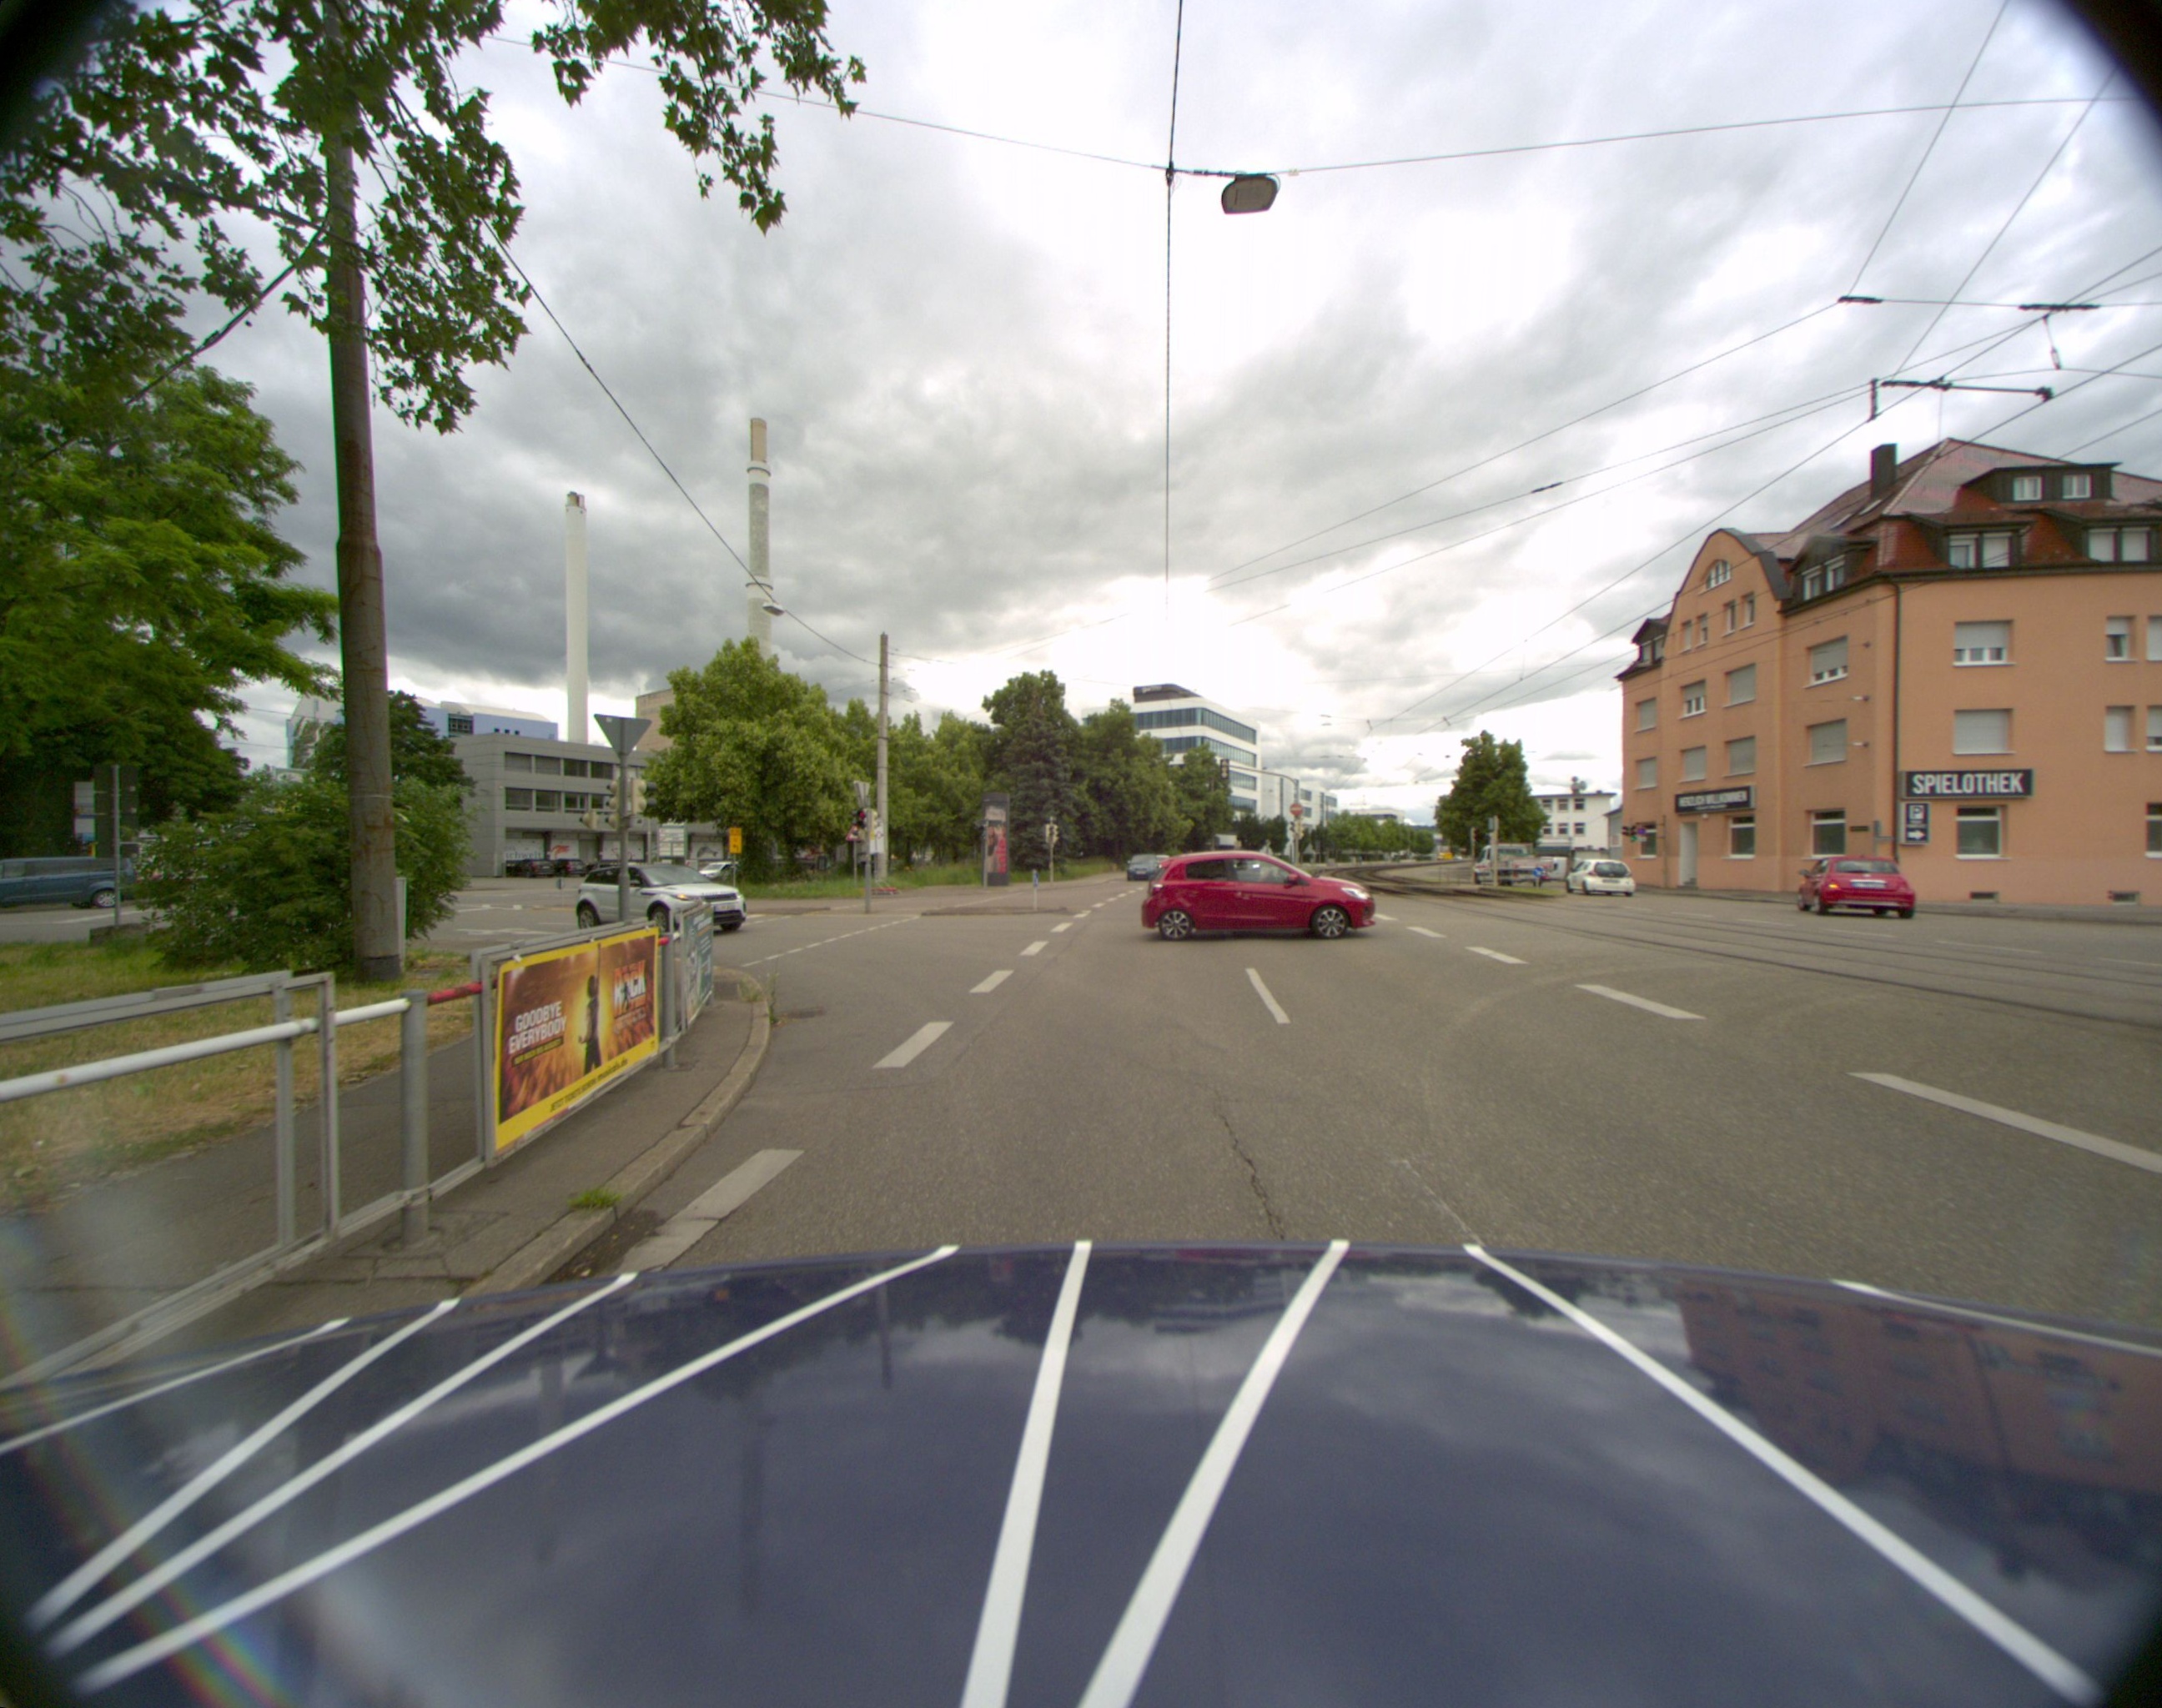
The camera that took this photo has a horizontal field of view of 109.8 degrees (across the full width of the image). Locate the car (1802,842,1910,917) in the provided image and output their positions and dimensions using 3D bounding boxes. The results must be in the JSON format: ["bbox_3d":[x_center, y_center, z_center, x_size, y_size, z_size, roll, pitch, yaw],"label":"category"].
[{"bbox_3d":[19.588,0.541,19.351,1.698,1.517,4.007,1,4,43],"label":"car"}]

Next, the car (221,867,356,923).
[{"bbox_3d":[-27.650,1.355,26.704,1.835,1.761,4.221,0,0,-24],"label":"car"}]

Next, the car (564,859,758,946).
[{"bbox_3d":[-9.614,1.013,17.364,4.102,1.561,1.920,2,4,29],"label":"car"}]

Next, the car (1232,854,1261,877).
[{"bbox_3d":[10.140,0.690,46.686,1.626,1.324,3.177,-1,0,10],"label":"car"}]

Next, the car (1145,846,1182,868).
[{"bbox_3d":[5.525,0.190,50.455,1.746,1.418,4.170,-1,0,15],"label":"car"}]

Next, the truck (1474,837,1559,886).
[{"bbox_3d":[23.494,0.359,41.270,2.317,2.407,5.659,1,1,12],"label":"truck"}]

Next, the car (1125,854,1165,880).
[{"bbox_3d":[3.728,0.731,43.752,1.746,1.383,3.707,-1,0,13],"label":"car"}]

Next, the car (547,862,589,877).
[{"bbox_3d":[-46.515,1.374,68.887,3.562,1.172,1.780,2,4,30],"label":"car"}]

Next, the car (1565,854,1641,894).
[{"bbox_3d":[20.931,0.861,30.605,1.595,1.411,3.381,-4,-5,19],"label":"car"}]

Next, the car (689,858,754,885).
[{"bbox_3d":[-27.650,1.291,58.637,1.996,1.654,4.766,0,4,12],"label":"car"}]

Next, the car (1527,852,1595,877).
[{"bbox_3d":[42.748,0.948,67.613,6.307,2.089,1.746,-1,0,-22],"label":"car"}]

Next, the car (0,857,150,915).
[{"bbox_3d":[-38.012,1.122,28.003,1.996,2.002,4.244,1,0,17],"label":"car"}]

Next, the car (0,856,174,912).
[{"bbox_3d":[-37.805,1.069,28.282,1.829,1.933,4.809,-1,0,18],"label":"car"}]

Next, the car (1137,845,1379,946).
[{"bbox_3d":[2.931,0.626,12.959,3.734,1.521,1.769,0,2,11],"label":"car"}]
